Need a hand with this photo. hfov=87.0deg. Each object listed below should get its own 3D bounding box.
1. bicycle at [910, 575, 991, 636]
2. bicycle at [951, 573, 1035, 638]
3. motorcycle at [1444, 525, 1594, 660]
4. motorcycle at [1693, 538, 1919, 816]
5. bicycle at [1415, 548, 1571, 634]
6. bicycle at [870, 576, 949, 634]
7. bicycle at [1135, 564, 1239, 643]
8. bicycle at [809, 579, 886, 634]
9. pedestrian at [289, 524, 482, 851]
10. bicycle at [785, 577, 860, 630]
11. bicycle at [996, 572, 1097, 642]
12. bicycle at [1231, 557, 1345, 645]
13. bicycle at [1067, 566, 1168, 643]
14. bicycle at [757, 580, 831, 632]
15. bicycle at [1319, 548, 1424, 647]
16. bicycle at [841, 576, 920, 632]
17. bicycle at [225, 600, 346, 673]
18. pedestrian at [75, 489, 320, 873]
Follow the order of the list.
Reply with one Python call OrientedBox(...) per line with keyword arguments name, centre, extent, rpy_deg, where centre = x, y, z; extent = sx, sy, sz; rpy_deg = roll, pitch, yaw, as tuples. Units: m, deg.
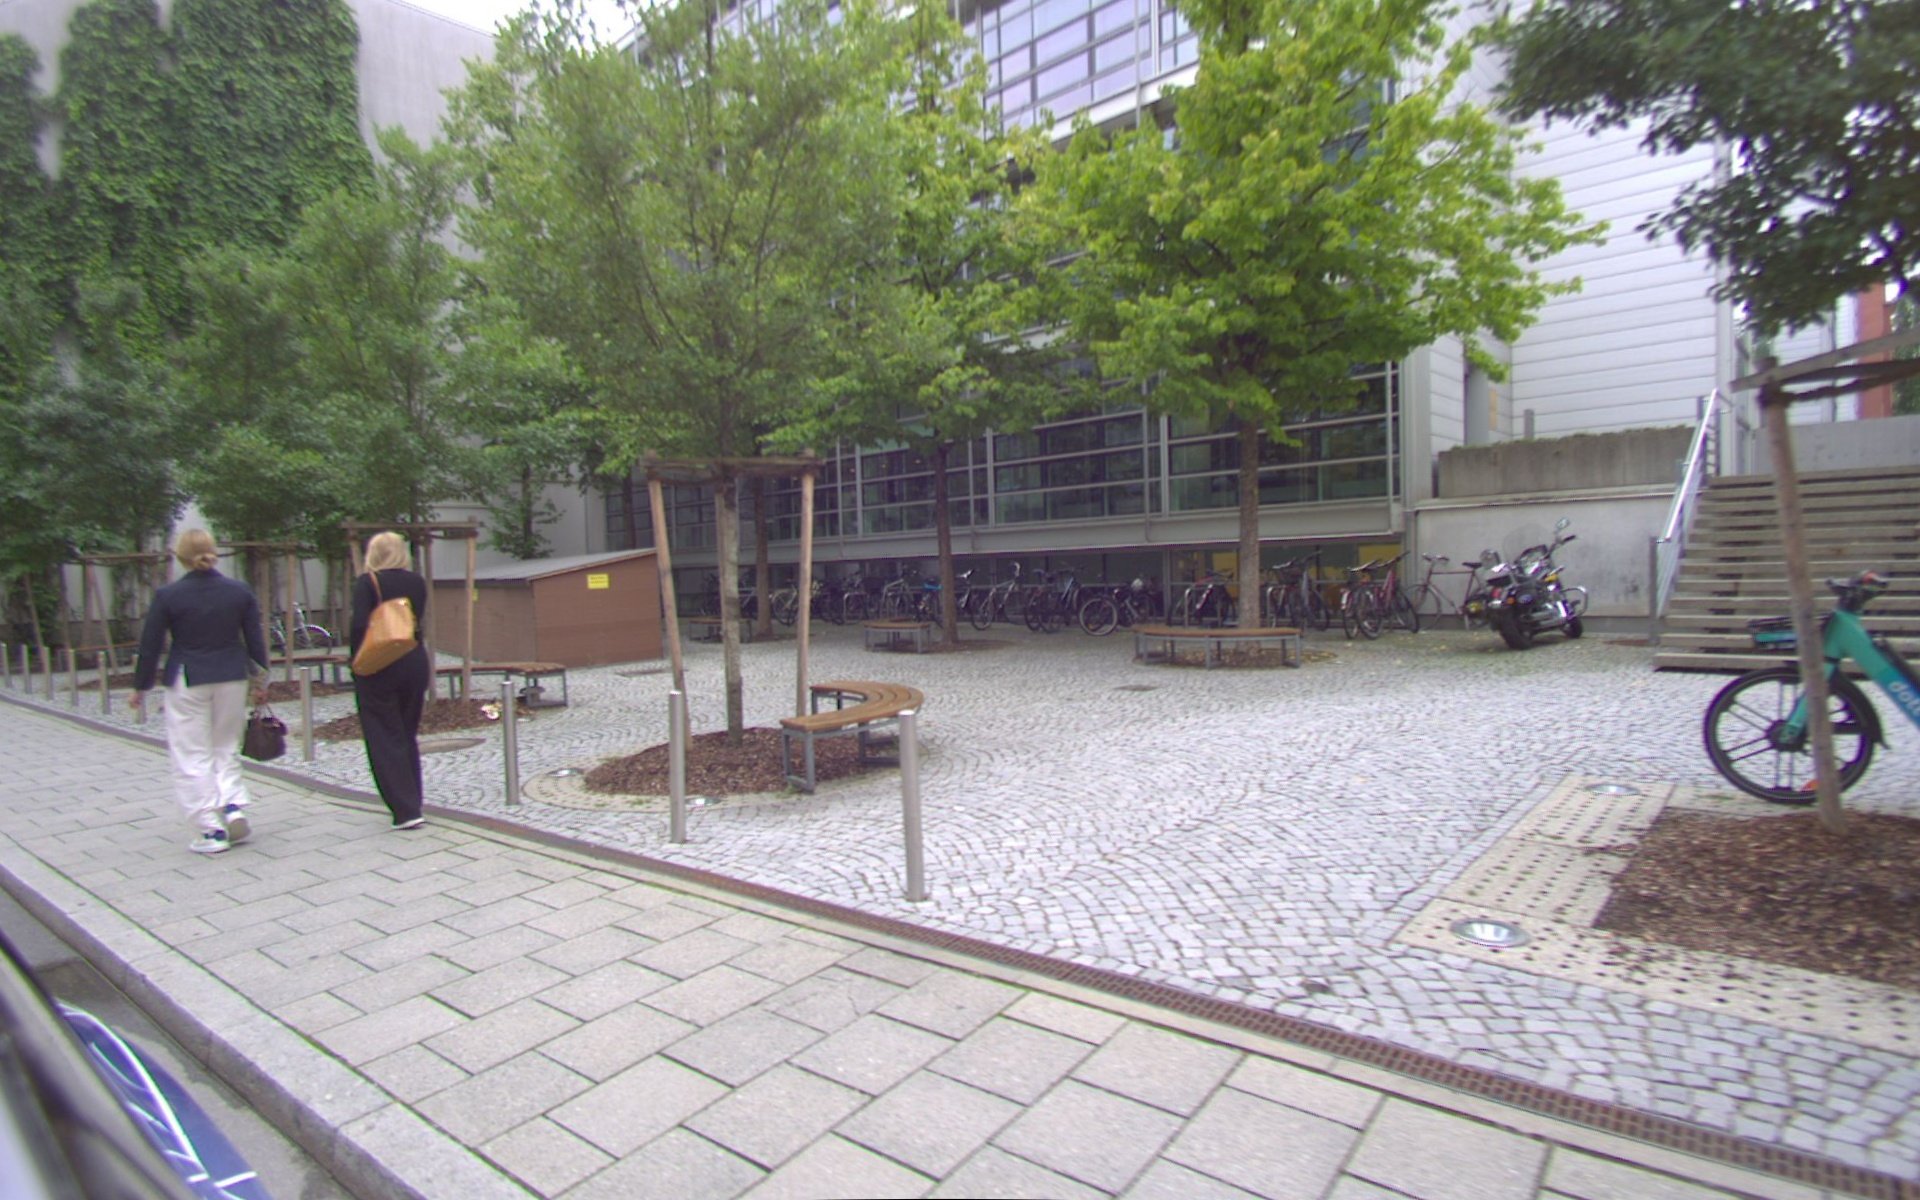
OrientedBox(name="bicycle", centre=(-0.169, 0.093, 19.088), extent=(0.628, 1.068, 1.555), rpy_deg=(-1, 2, 41))
OrientedBox(name="bicycle", centre=(0.613, 0.084, 18.276), extent=(0.628, 1.068, 1.555), rpy_deg=(-1, 2, 41))
OrientedBox(name="motorcycle", centre=(6.667, -0.131, 11.980), extent=(0.970, 1.422, 2.637), rpy_deg=(-1, 2, 42))
OrientedBox(name="motorcycle", centre=(4.437, 0.319, 4.383), extent=(1.981, 1.181, 0.570), rpy_deg=(0, 3, 44))
OrientedBox(name="bicycle", centre=(7.174, -0.108, 13.689), extent=(1.795, 1.099, 0.411), rpy_deg=(-1, 1, 42))
OrientedBox(name="bicycle", centre=(-0.992, 0.079, 20.048), extent=(0.628, 1.068, 1.555), rpy_deg=(-1, 2, 41))
OrientedBox(name="bicycle", centre=(3.520, 0.031, 15.588), extent=(0.708, 1.083, 1.877), rpy_deg=(-1, 2, 42))
OrientedBox(name="bicycle", centre=(-2.356, 0.131, 21.248), extent=(0.628, 1.068, 1.555), rpy_deg=(-1, 2, 41))
OrientedBox(name="pedestrian", centre=(-3.237, 0.443, 5.690), extent=(0.996, 1.672, 0.547), rpy_deg=(-1, 1, 38))
OrientedBox(name="bicycle", centre=(-2.989, 0.074, 22.031), extent=(0.628, 1.068, 1.555), rpy_deg=(-1, 2, 41))
OrientedBox(name="bicycle", centre=(1.503, 0.099, 17.320), extent=(0.705, 1.066, 1.877), rpy_deg=(-1, 2, 42))
OrientedBox(name="bicycle", centre=(4.720, -0.008, 14.487), extent=(0.826, 1.134, 1.877), rpy_deg=(-1, 2, 42))
OrientedBox(name="bicycle", centre=(2.572, 0.049, 16.411), extent=(0.666, 1.114, 1.877), rpy_deg=(-1, 2, 42))
OrientedBox(name="bicycle", centre=(-3.687, 0.115, 22.554), extent=(0.628, 1.068, 1.555), rpy_deg=(-1, 2, 41))
OrientedBox(name="bicycle", centre=(5.580, -0.066, 13.660), extent=(0.698, 1.212, 1.877), rpy_deg=(-1, 2, 42))
OrientedBox(name="bicycle", centre=(-1.597, 0.069, 20.541), extent=(0.628, 1.068, 1.555), rpy_deg=(-1, 2, 41))
OrientedBox(name="bicycle", centre=(-11.909, 0.645, 17.871), extent=(1.984, 1.217, 0.709), rpy_deg=(-1, 2, 21))
OrientedBox(name="pedestrian", centre=(-4.127, 0.384, 5.481), extent=(0.990, 1.850, 0.768), rpy_deg=(-1, 1, 38))
